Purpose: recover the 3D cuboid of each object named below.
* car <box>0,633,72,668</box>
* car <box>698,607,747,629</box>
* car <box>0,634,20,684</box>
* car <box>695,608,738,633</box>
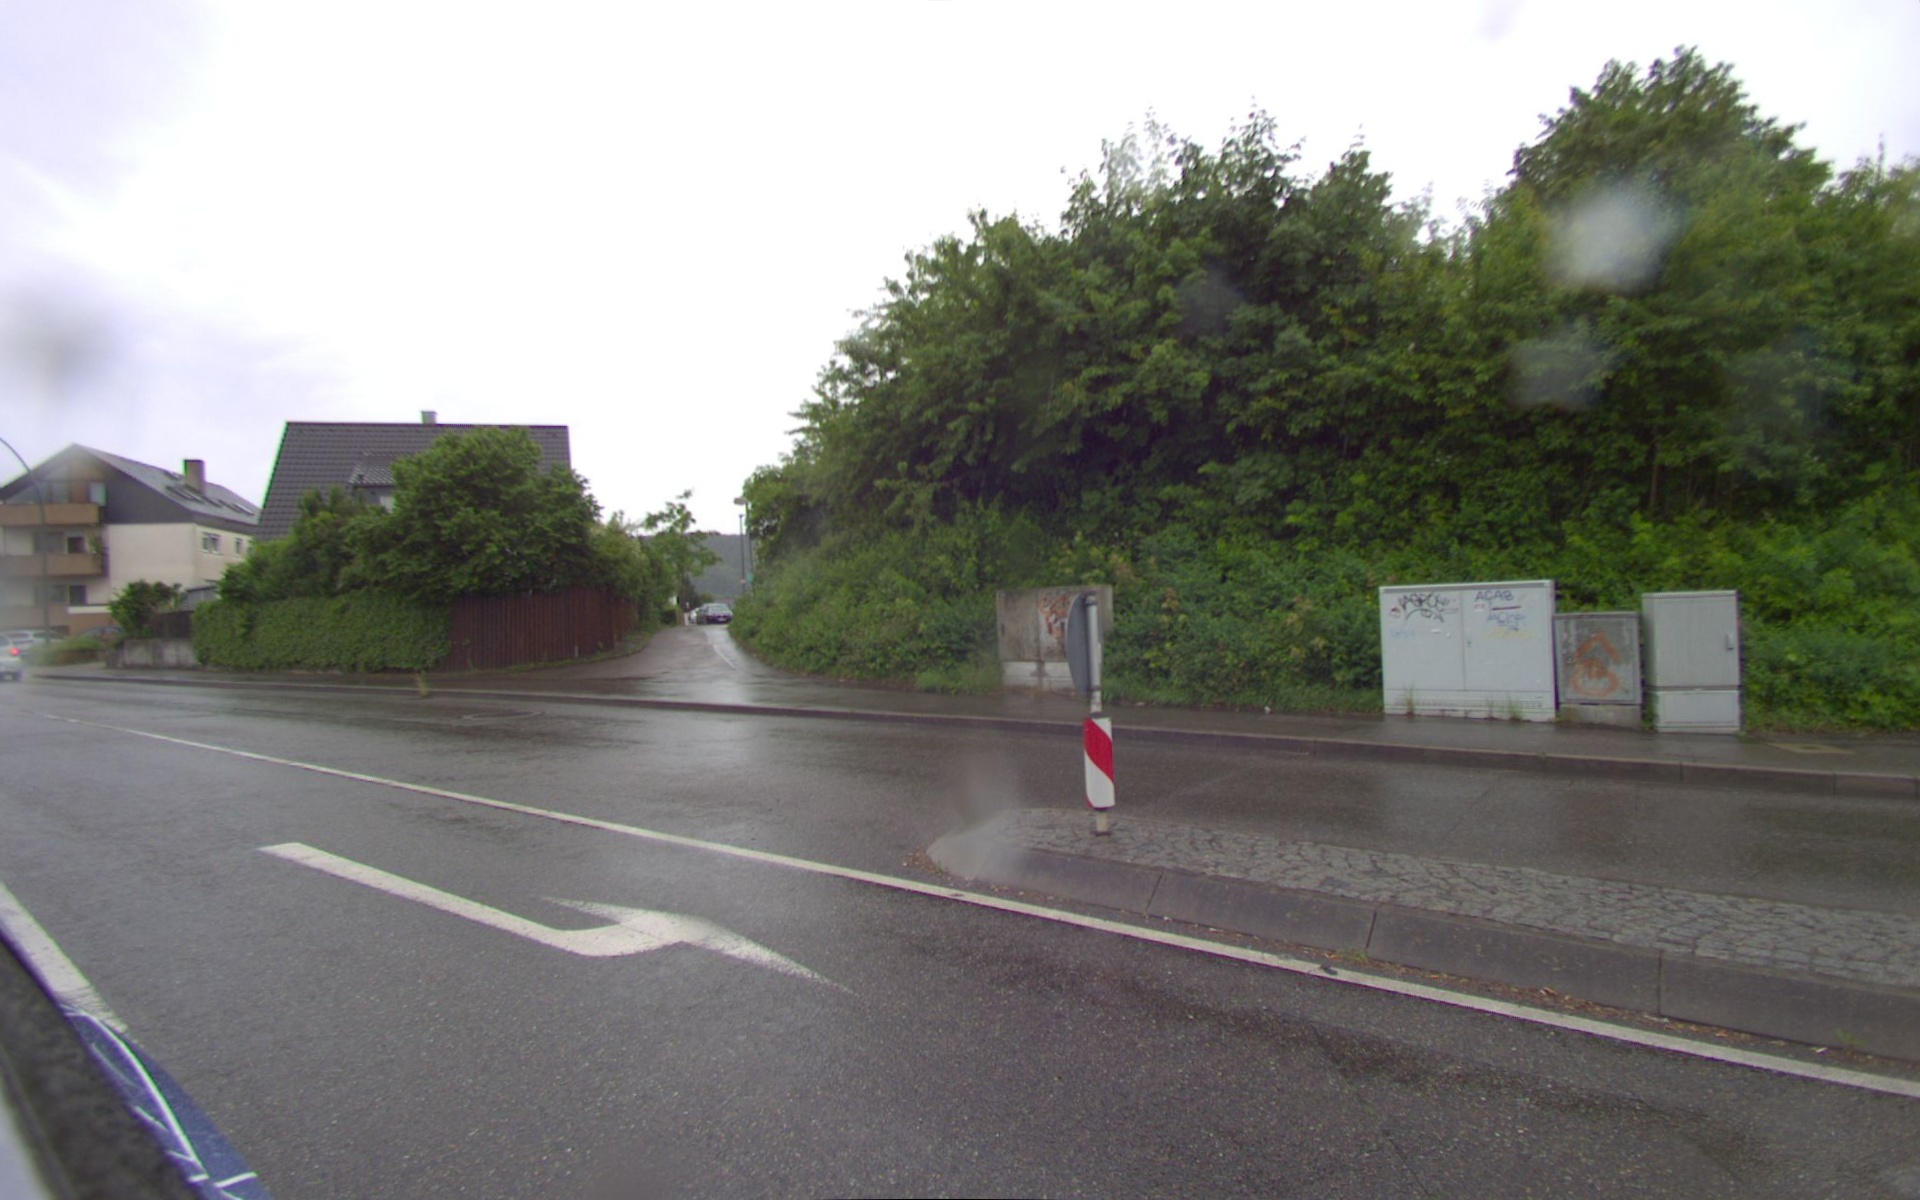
[{"bbox_3d":[-46.703,2.527,50.767,1.638,1.558,4.011,-1,0,-15],"label":"car"},{"bbox_3d":[-17.210,1.333,73.320,1.967,1.497,4.009,-1,0,-37],"label":"car"},{"bbox_3d":[-31.075,1.852,31.708,3.813,1.516,1.606,-2,-2,35],"label":"car"},{"bbox_3d":[-15.891,1.346,65.956,1.867,1.494,4.013,-1,-1,-26],"label":"car"}]
